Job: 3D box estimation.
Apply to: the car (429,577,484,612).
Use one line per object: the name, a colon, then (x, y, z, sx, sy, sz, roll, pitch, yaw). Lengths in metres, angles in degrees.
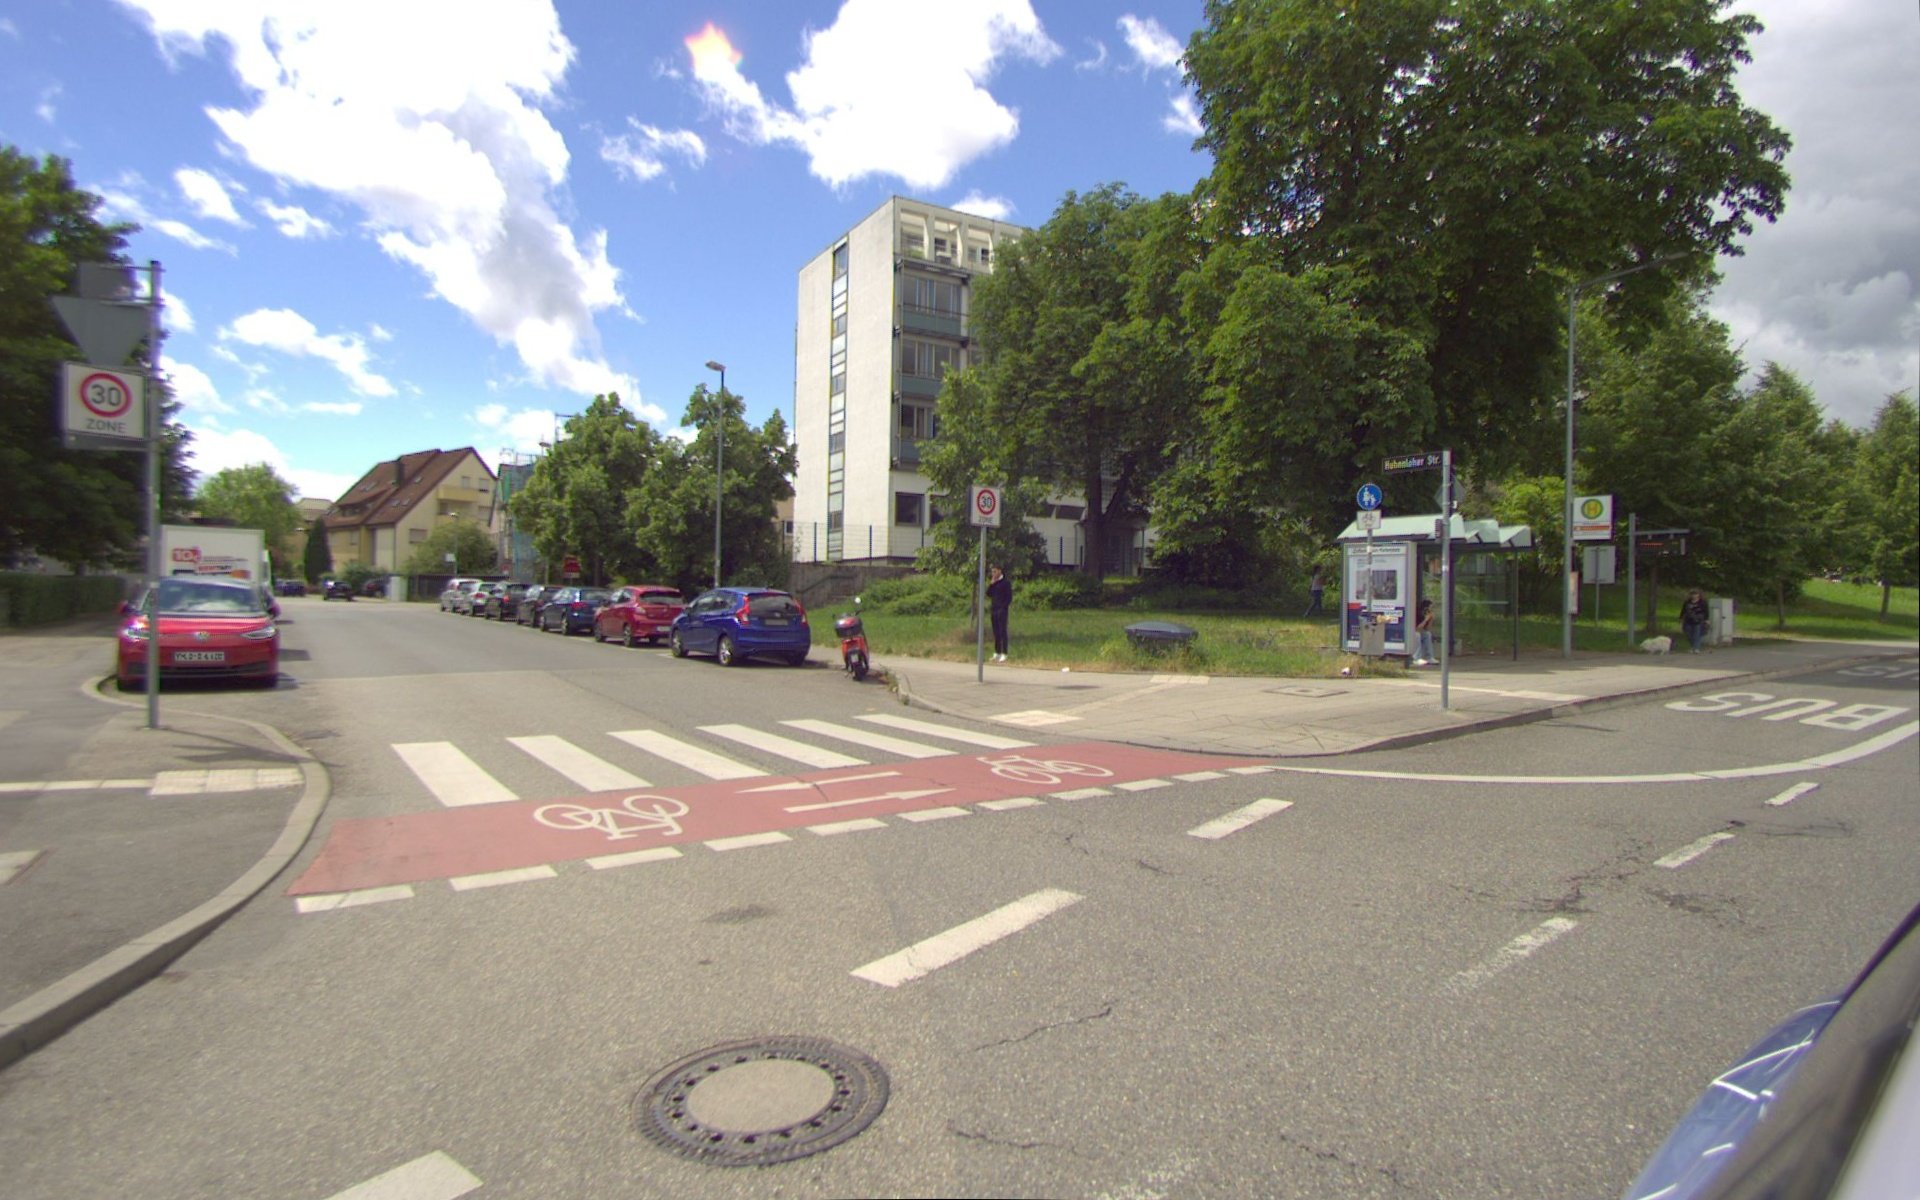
car: (-24.391, -0.288, 48.963, 1.758, 1.610, 3.999, 0, 1, -36)

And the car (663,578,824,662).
car: (-4.531, 0.356, 20.818, 1.860, 1.475, 3.806, 2, 1, -35)

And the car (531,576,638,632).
car: (-11.422, 0.082, 30.629, 1.963, 1.579, 4.091, 0, 1, -36)

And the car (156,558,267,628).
car: (-17.857, -0.210, 24.306, 1.962, 1.521, 4.095, 2, 1, -35)

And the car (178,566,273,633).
car: (-20.695, -0.054, 28.658, 1.871, 1.745, 4.003, 0, 1, -32)

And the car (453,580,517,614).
car: (-20.858, -0.122, 44.378, 1.813, 1.382, 3.999, 2, -1, -35)

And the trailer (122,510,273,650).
trailer: (-15.396, -0.354, 20.675, 2.179, 2.519, 4.552, 2, -1, -35)

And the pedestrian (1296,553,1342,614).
pedestrian: (10.740, -0.492, 30.316, 0.840, 1.782, 0.991, 0, 1, -23)

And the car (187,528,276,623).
car: (-24.332, -0.818, 33.986, 2.161, 2.902, 5.598, 0, 1, -33)

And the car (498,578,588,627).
car: (-14.587, 0.052, 35.267, 1.963, 1.579, 4.091, 0, 1, -36)

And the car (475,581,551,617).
car: (-17.563, -0.068, 39.665, 1.834, 1.303, 3.998, 0, 1, -37)

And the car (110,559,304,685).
car: (-11.083, 0.284, 14.908, 1.963, 1.582, 4.167, 3, -1, -38)

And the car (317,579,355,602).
car: (-45.107, -0.696, 73.133, 1.963, 1.579, 4.091, 0, 1, -36)

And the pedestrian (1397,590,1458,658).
pedestrian: (9.090, 0.447, 19.686, 0.672, 1.275, 0.831, 1, 0, -30)

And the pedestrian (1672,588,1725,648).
pedestrian: (18.287, 0.432, 25.061, 0.814, 1.442, 0.822, -1, 1, -33)

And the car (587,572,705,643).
car: (-8.054, 0.175, 25.755, 1.795, 1.665, 3.698, 2, -1, -35)
